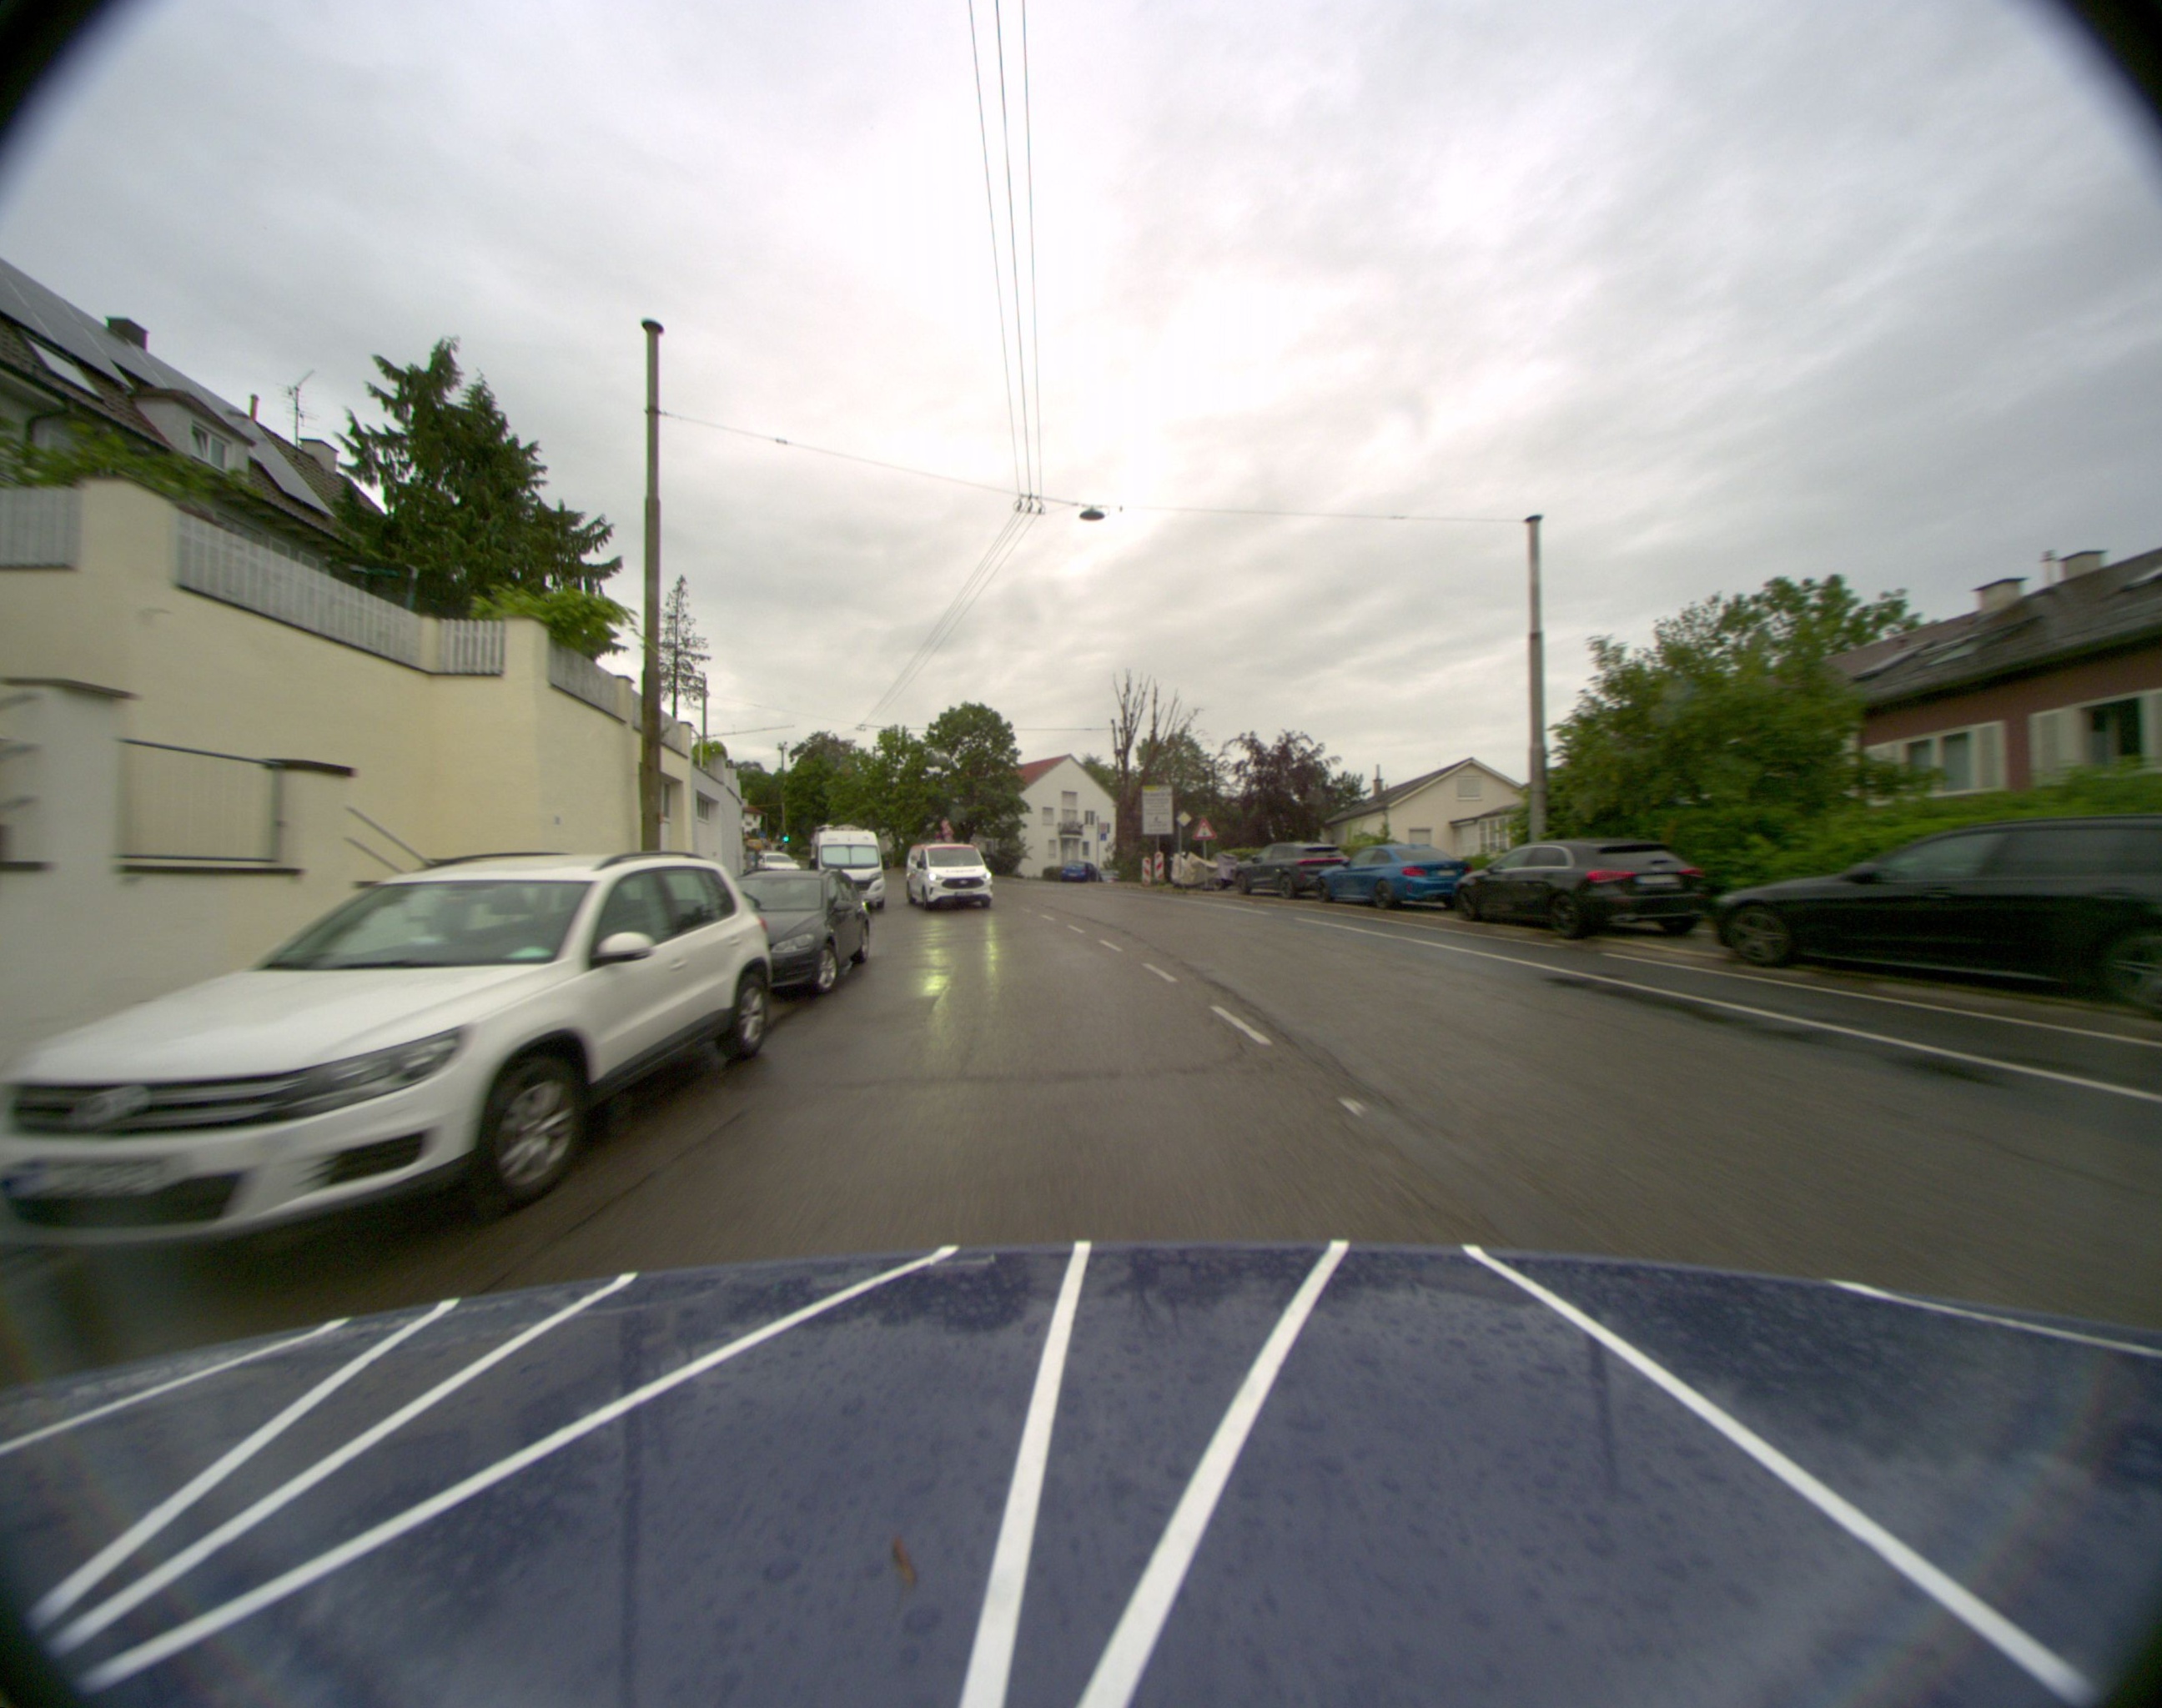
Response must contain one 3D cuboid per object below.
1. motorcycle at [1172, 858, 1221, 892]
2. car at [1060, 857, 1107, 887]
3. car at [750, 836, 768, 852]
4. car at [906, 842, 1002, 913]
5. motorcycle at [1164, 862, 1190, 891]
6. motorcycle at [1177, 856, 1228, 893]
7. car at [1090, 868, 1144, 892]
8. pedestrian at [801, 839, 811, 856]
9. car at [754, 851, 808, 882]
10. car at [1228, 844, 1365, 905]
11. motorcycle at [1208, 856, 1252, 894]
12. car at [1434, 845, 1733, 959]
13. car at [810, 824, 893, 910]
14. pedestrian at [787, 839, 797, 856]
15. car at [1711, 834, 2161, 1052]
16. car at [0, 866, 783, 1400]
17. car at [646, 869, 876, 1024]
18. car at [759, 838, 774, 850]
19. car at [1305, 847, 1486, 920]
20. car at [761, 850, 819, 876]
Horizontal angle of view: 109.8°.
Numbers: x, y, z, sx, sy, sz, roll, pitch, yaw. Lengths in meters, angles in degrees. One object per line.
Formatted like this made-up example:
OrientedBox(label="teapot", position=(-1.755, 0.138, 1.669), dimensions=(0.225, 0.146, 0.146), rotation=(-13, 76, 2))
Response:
OrientedBox(label="motorcycle", position=(4.504, 0.798, 29.615), dimensions=(1.808, 1.272, 0.510), rotation=(-1, 0, -17))
OrientedBox(label="car", position=(0.206, 1.061, 46.611), dimensions=(1.838, 1.656, 3.946), rotation=(3, 2, 16))
OrientedBox(label="car", position=(-42.222, -1.327, 99.565), dimensions=(1.811, 1.917, 4.568), rotation=(3, 1, -20))
OrientedBox(label="car", position=(-4.118, 0.659, 23.983), dimensions=(2.045, 1.928, 4.506), rotation=(-3, 1, -21))
OrientedBox(label="motorcycle", position=(3.921, 0.899, 31.208), dimensions=(0.511, 1.133, 1.920), rotation=(2, -1, -10))
OrientedBox(label="motorcycle", position=(4.514, 0.757, 28.210), dimensions=(1.804, 1.296, 0.614), rotation=(-2, 1, 12))
OrientedBox(label="car", position=(2.528, 1.791, 52.221), dimensions=(1.836, 1.485, 4.090), rotation=(3, 0, 34))
OrientedBox(label="pedestrian", position=(-30.715, -0.727, 84.935), dimensions=(0.684, 1.806, 1.152), rotation=(0, 1, -39))
OrientedBox(label="car", position=(-15.896, 0.652, 40.148), dimensions=(1.714, 1.406, 4.029), rotation=(2, 1, -35))
OrientedBox(label="car", position=(6.240, 0.547, 22.582), dimensions=(1.929, 1.568, 4.382), rotation=(-2, 0, -15))
OrientedBox(label="motorcycle", position=(5.305, 0.740, 26.940), dimensions=(0.574, 1.264, 1.910), rotation=(-1, 1, 43))
OrientedBox(label="car", position=(7.731, 0.624, 12.348), dimensions=(1.813, 1.468, 4.521), rotation=(-1, 0, -1))
OrientedBox(label="car", position=(-7.785, 0.360, 25.341), dimensions=(2.108, 2.528, 5.608), rotation=(1, 1, -22))
OrientedBox(label="pedestrian", position=(-31.887, -0.744, 83.752), dimensions=(0.711, 1.806, 1.144), rotation=(0, 1, -39))
OrientedBox(label="car", position=(8.174, 0.586, 6.391), dimensions=(1.813, 1.468, 4.520), rotation=(-1, 0, -4))
OrientedBox(label="car", position=(-3.468, 0.941, 4.559), dimensions=(1.808, 1.639, 4.209), rotation=(-1, 0, -2))
OrientedBox(label="car", position=(-3.956, 1.016, 10.194), dimensions=(1.683, 1.475, 4.198), rotation=(-1, 1, -7))
OrientedBox(label="car", position=(-45.738, -1.525, 110.577), dimensions=(1.727, 1.599, 4.454), rotation=(2, 1, -18))
OrientedBox(label="car", position=(7.034, 0.609, 17.591), dimensions=(1.705, 1.396, 4.469), rotation=(-2, 0, -10))
OrientedBox(label="car", position=(-18.258, 0.538, 47.576), dimensions=(1.994, 1.428, 4.501), rotation=(1, 0, -39))
